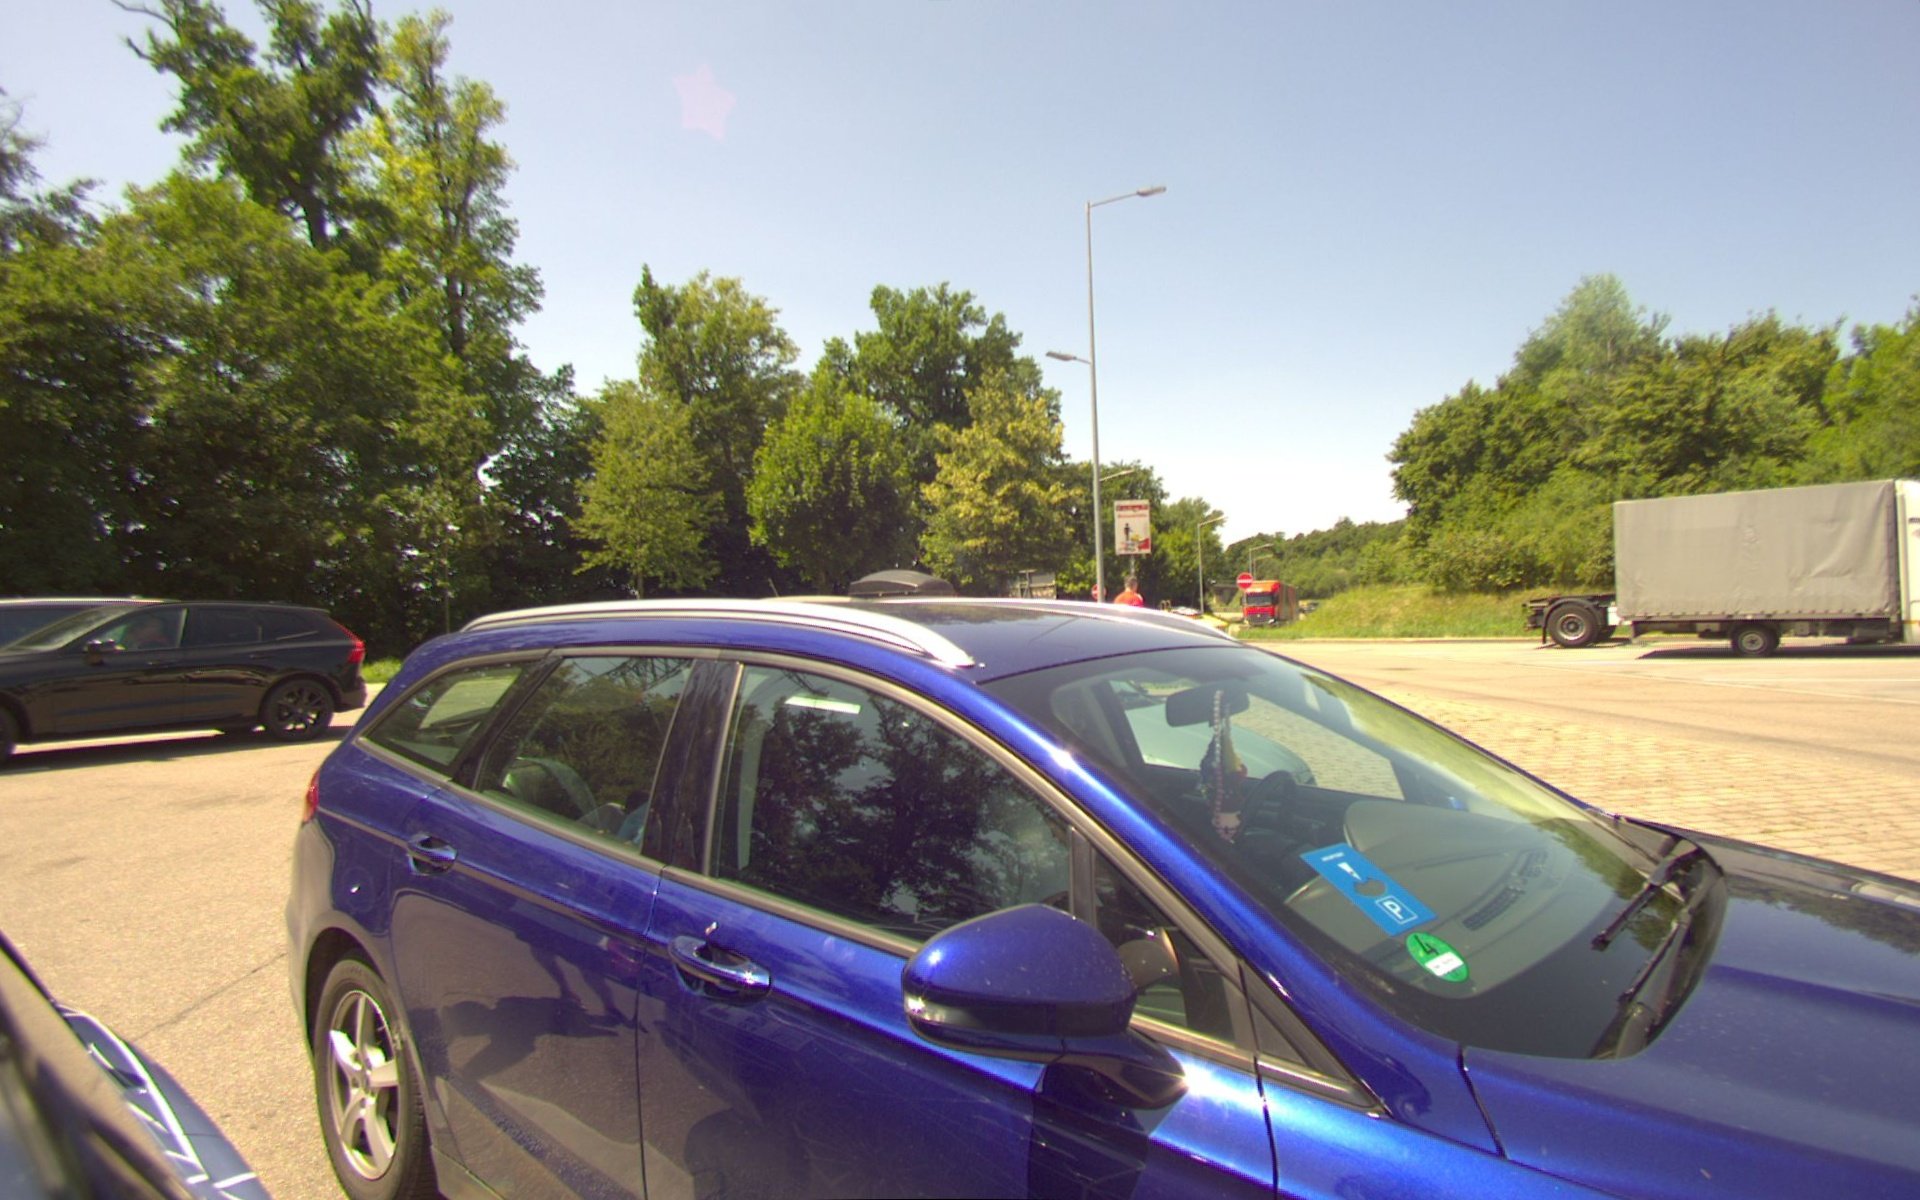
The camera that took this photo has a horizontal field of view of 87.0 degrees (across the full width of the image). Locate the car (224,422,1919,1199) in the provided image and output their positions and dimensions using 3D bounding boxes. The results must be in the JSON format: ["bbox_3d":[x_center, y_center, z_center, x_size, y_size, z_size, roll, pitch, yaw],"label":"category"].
[{"bbox_3d":[0.259,0.658,2.142,4.490,1.502,1.851,-3,0,40],"label":"car"}]

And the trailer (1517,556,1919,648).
[{"bbox_3d":[17.259,0.121,23.396,7.295,1.701,2.235,-4,-1,43],"label":"trailer"}]

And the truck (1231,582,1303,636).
[{"bbox_3d":[25.919,0.656,84.686,3.118,4.150,15.259,-1,0,27],"label":"truck"}]

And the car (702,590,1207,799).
[{"bbox_3d":[-0.239,0.747,9.215,4.490,1.437,1.754,-3,-1,40],"label":"car"}]

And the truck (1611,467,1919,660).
[{"bbox_3d":[16.833,-0.660,18.969,7.295,3.259,2.709,-4,-1,43],"label":"truck"}]

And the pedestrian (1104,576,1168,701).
[{"bbox_3d":[2.563,0.545,14.684,0.672,1.746,0.826,-2,-1,27],"label":"pedestrian"}]

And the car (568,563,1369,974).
[{"bbox_3d":[-0.252,0.691,5.841,4.490,1.511,1.754,-3,-1,40],"label":"car"}]

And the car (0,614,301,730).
[{"bbox_3d":[-12.591,1.003,15.469,1.687,1.515,3.943,-1,0,43],"label":"car"}]

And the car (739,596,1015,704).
[{"bbox_3d":[-1.472,0.824,16.862,4.485,1.562,1.756,-3,-1,36],"label":"car"}]

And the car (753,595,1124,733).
[{"bbox_3d":[-0.380,0.772,12.762,4.485,1.437,1.756,-3,-1,36],"label":"car"}]

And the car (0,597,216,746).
[{"bbox_3d":[-11.937,0.858,12.305,4.553,1.725,1.741,0,-1,-41],"label":"car"}]

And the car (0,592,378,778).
[{"bbox_3d":[-9.156,0.803,10.973,1.993,1.725,4.568,-1,0,31],"label":"car"}]
